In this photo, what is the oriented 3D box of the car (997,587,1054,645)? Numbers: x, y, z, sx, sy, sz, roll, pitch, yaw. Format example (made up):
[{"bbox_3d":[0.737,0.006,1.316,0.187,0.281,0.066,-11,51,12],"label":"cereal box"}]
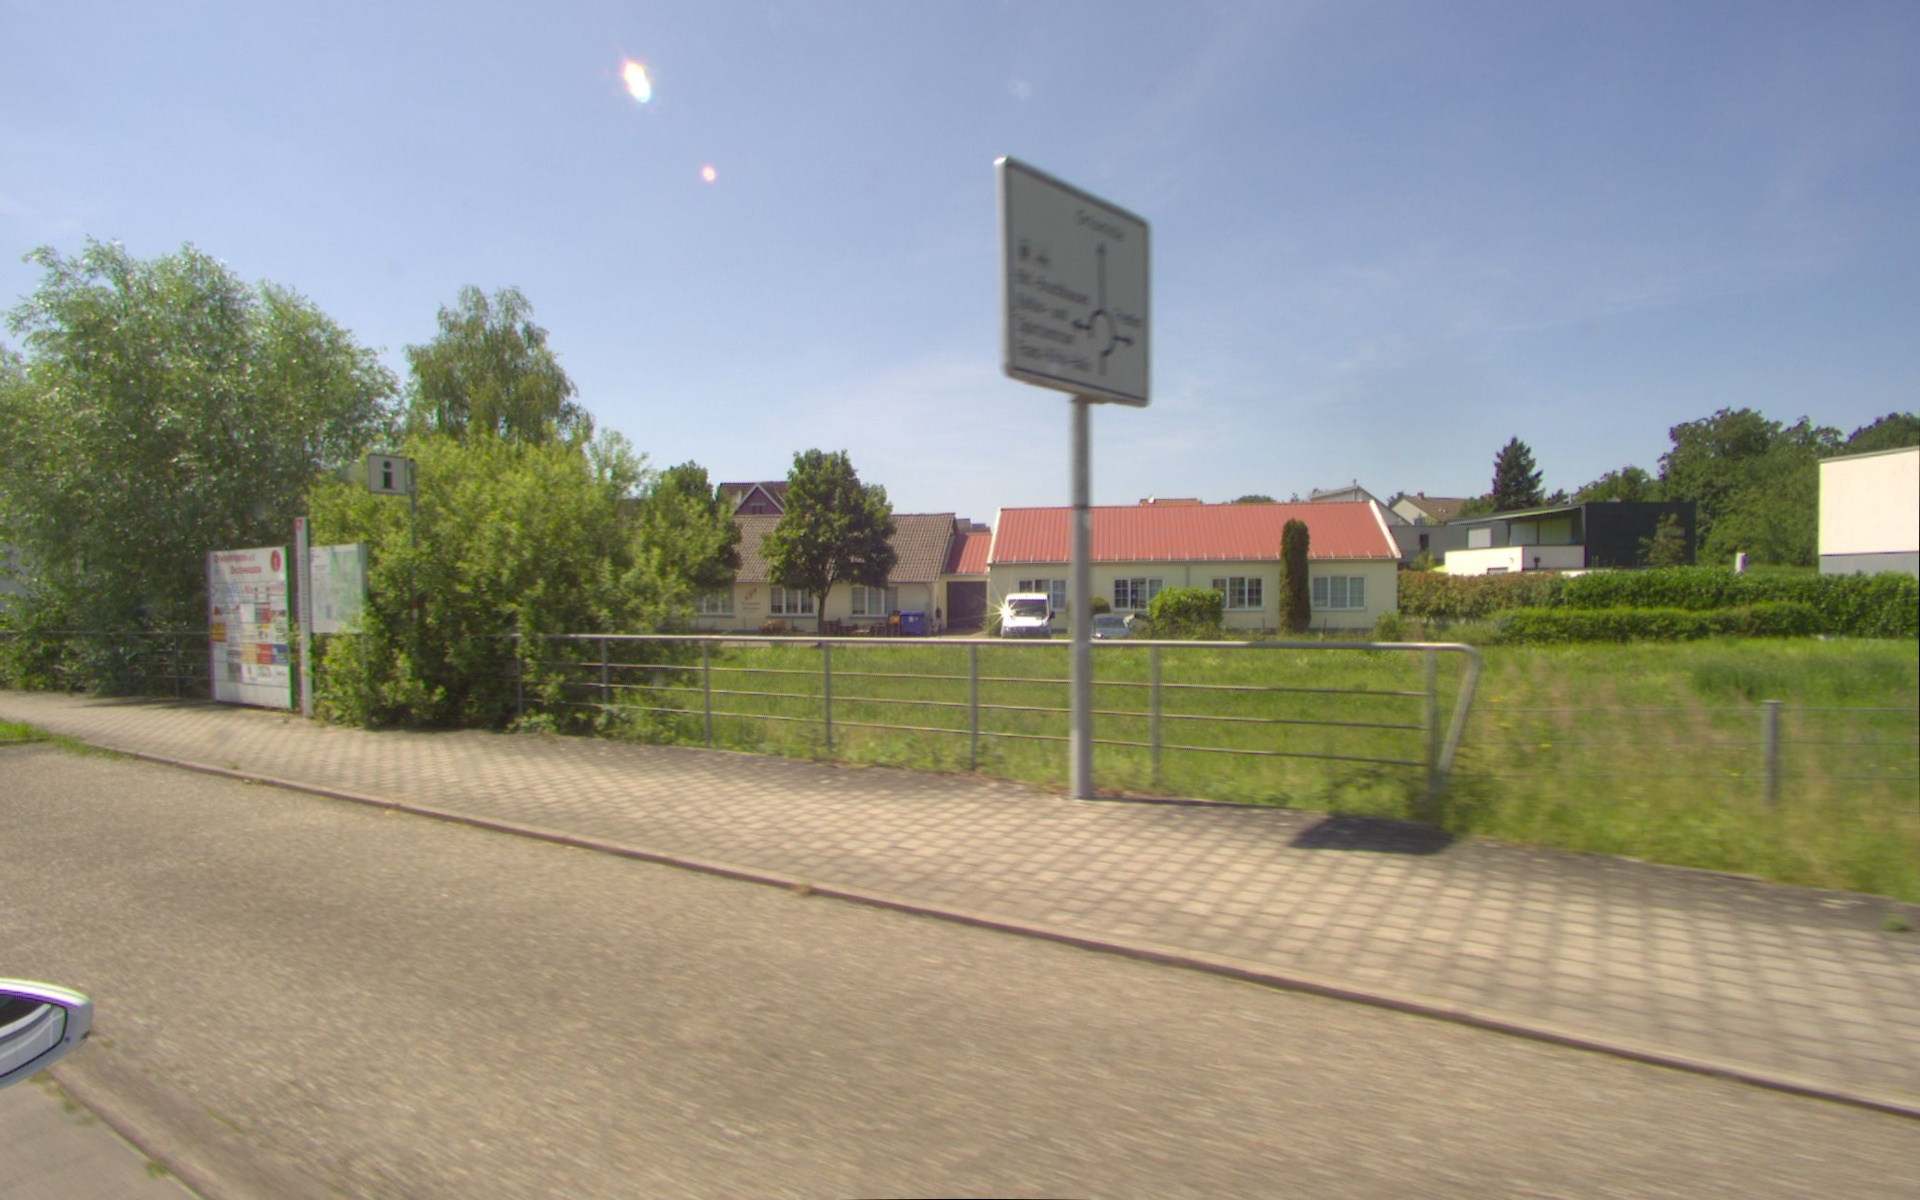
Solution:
[{"bbox_3d":[2.721,0.671,41.356,2.172,2.230,5.185,0,-1,4],"label":"car"}]

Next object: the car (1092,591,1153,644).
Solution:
[{"bbox_3d":[6.553,0.719,40.814,2.029,2.040,4.933,0,-1,4],"label":"car"}]
